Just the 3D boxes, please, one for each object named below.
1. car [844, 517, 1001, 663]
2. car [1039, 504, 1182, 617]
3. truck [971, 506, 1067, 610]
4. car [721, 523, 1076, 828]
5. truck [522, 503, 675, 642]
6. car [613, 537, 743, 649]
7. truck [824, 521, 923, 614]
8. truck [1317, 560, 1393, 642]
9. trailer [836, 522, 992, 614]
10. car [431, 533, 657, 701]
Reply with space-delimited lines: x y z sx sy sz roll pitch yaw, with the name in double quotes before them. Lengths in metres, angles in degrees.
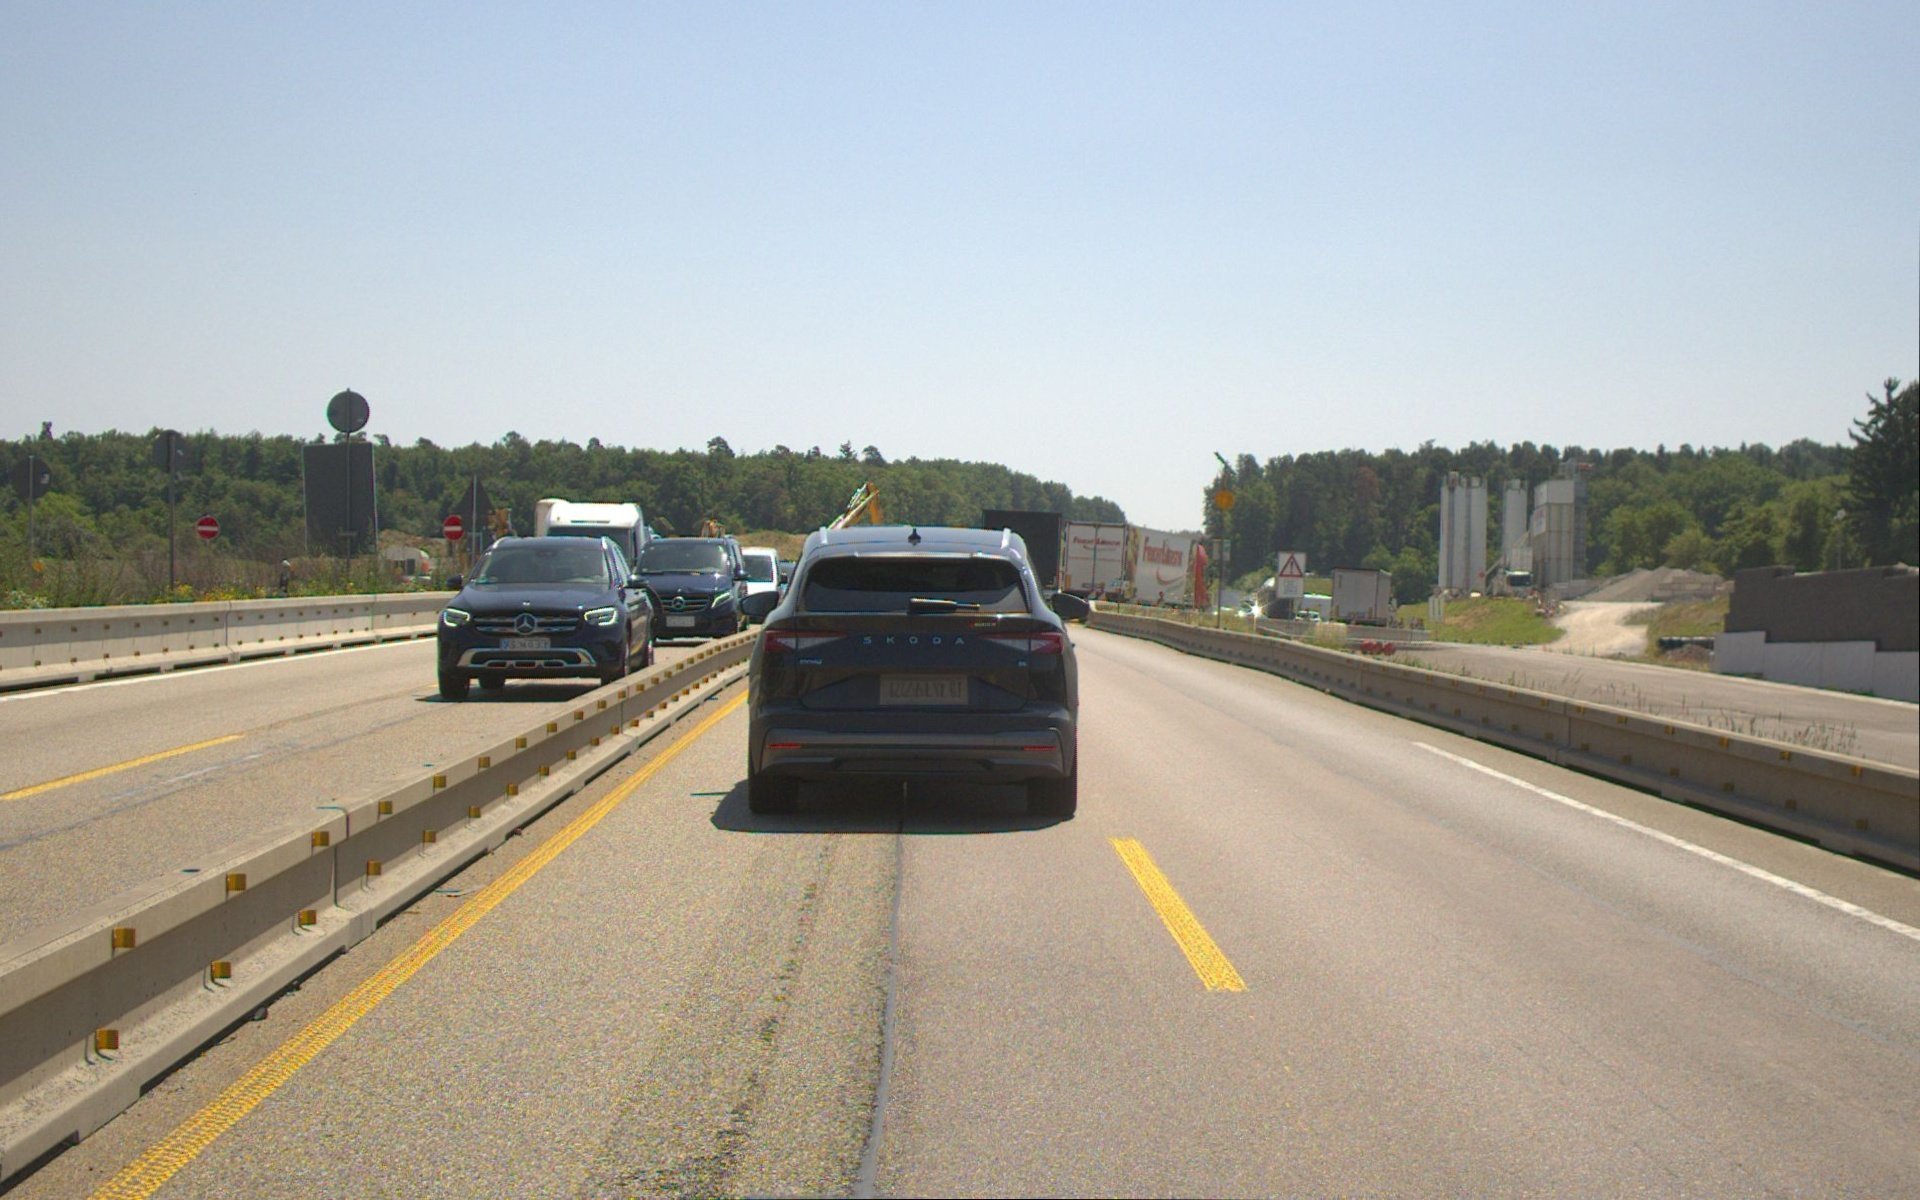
"car" -0.551 -0.144 47.426 1.993 1.837 4.000 3 0 -2
"car" 6.265 -1.562 141.320 3.439 4.087 9.189 6 0 16
"truck" 1.709 -1.259 101.224 2.673 2.935 5.621 1 1 0
"car" -0.311 0.394 20.015 1.842 1.576 4.000 1 0 0
"truck" -7.748 -0.606 74.569 2.480 2.814 8.129 1 1 0
"car" -4.845 -0.164 59.664 1.907 1.798 5.082 1 1 -1
"truck" -3.895 -1.451 156.116 2.916 4.115 6.134 1 0 14
"truck" 22.568 0.089 196.198 3.477 4.206 10.372 7 1 9
"trailer" -2.013 -1.454 161.941 2.917 4.115 13.903 1 0 18
"car" -4.271 0.123 35.937 1.855 1.598 4.736 1 1 -1
